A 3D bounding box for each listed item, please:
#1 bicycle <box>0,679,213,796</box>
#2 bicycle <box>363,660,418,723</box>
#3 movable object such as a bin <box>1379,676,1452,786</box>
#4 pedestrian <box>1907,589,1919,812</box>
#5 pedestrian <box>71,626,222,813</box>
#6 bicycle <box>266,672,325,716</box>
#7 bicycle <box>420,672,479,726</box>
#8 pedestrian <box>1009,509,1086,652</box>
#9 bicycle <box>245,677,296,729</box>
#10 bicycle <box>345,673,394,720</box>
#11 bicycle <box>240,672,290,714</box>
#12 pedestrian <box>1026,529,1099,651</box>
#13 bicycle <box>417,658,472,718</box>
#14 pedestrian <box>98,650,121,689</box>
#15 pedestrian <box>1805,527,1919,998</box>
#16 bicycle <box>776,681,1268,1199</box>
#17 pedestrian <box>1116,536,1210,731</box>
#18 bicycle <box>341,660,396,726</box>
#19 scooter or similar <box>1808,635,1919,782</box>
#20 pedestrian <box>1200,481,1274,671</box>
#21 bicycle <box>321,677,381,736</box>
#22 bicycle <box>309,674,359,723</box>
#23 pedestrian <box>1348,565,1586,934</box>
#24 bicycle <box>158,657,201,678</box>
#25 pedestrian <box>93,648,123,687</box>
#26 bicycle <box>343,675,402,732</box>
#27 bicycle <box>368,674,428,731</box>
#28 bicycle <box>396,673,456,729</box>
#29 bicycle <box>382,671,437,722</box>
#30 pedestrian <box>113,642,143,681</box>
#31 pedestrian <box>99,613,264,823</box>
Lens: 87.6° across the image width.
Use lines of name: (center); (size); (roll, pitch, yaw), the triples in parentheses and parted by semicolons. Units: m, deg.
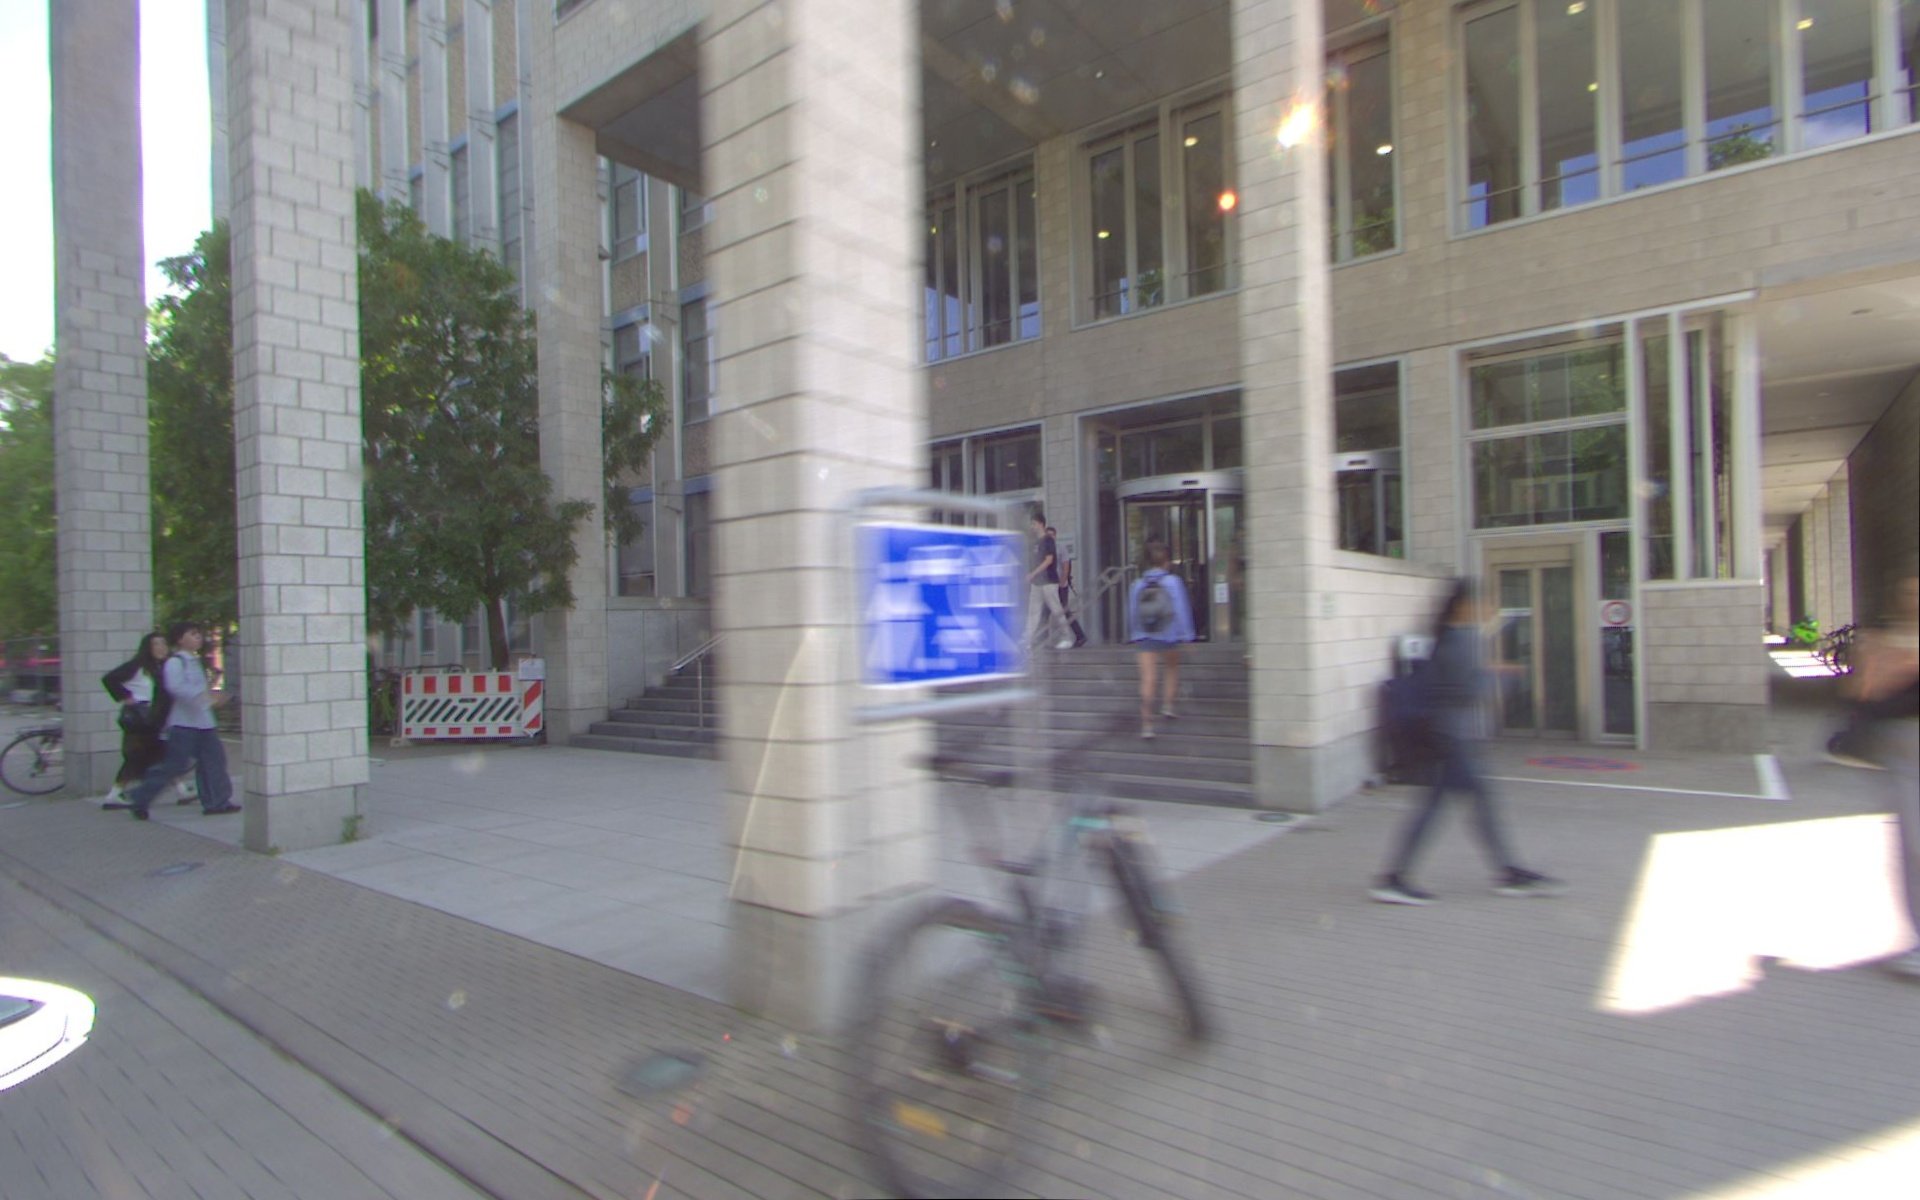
bicycle: (-9.262, 1.453, 10.926); (0.443, 1.053, 1.734); (0, 0, 33)
bicycle: (-10.509, 1.673, 18.456); (1.429, 1.108, 0.290); (-2, -1, 35)
movable object such as a bin: (4.096, 1.168, 9.024); (0.542, 0.950, 0.372); (-2, -1, 19)
pedestrian: (7.385, 0.722, 7.075); (0.811, 1.620, 0.590); (-1, 0, -3)
pedestrian: (-7.493, 1.065, 9.262); (0.726, 1.638, 0.808); (-1, -1, -3)
bicycle: (-14.410, 2.030, 21.704); (1.778, 0.917, 0.290); (-2, -1, 30)
bicycle: (-9.080, 1.749, 17.793); (1.429, 0.917, 0.290); (-2, -1, 35)
pedestrian: (1.141, -0.242, 13.211); (0.866, 1.826, 0.703); (-1, 0, -7)
bicycle: (-12.861, 1.914, 18.670); (1.429, 0.917, 0.290); (-2, -1, 35)
bicycle: (-11.942, 1.939, 20.240); (1.429, 0.917, 0.290); (-2, -1, 35)
bicycle: (-16.015, 2.130, 23.074); (1.595, 0.917, 0.290); (-2, -1, 30)
pedestrian: (1.443, -0.138, 14.183); (0.866, 1.676, 0.703); (-1, 0, -7)
bicycle: (-9.916, 1.685, 19.248); (1.429, 1.113, 0.290); (-2, -1, 35)
pedestrian: (-40.883, 3.357, 48.109); (0.761, 1.817, 0.583); (-2, -1, -45)
pedestrian: (3.804, 0.586, 3.854); (0.692, 1.677, 0.879); (0, 0, 30)
bicycle: (0.339, 0.912, 2.969); (0.596, 1.179, 1.875); (-1, 1, 33)
pedestrian: (1.932, 0.314, 9.491); (0.634, 1.746, 0.863); (-1, -1, 28)
bicycle: (-10.706, 1.665, 18.115); (1.429, 1.143, 0.290); (-2, -1, 35)
scooter or similar: (8.406, 0.947, 9.050); (0.352, 1.239, 1.429); (-1, -1, 5)
pedestrian: (2.797, -0.221, 10.100); (0.580, 1.826, 0.683); (-1, -1, 26)
bicycle: (-10.141, 1.756, 16.655); (1.429, 0.917, 0.290); (-2, -1, 35)
bicycle: (-12.317, 1.925, 19.680); (1.429, 0.917, 0.290); (-2, -1, 35)
pedestrian: (2.397, 0.673, 4.864); (0.866, 1.594, 0.819); (-2, -1, 19)
bicycle: (-42.769, 3.680, 54.917); (0.467, 1.124, 1.803); (-2, -3, 32)
pedestrian: (-39.801, 3.138, 46.757); (0.676, 1.749, 0.900); (-5, -3, 33)
bicycle: (-9.930, 1.733, 16.916); (1.429, 0.917, 0.290); (-2, -1, 35)
bicycle: (-9.612, 1.736, 17.110); (1.429, 0.917, 0.290); (-2, -1, 35)
bicycle: (-9.321, 1.750, 17.464); (1.429, 0.917, 0.290); (-2, -1, 35)
bicycle: (-10.302, 1.790, 18.736); (1.429, 0.898, 0.290); (-2, -1, 35)
pedestrian: (-38.473, 2.833, 46.322); (0.676, 1.749, 0.900); (-5, -3, 33)
pedestrian: (-6.679, 0.978, 8.639); (0.883, 1.692, 0.674); (-2, 0, -15)
